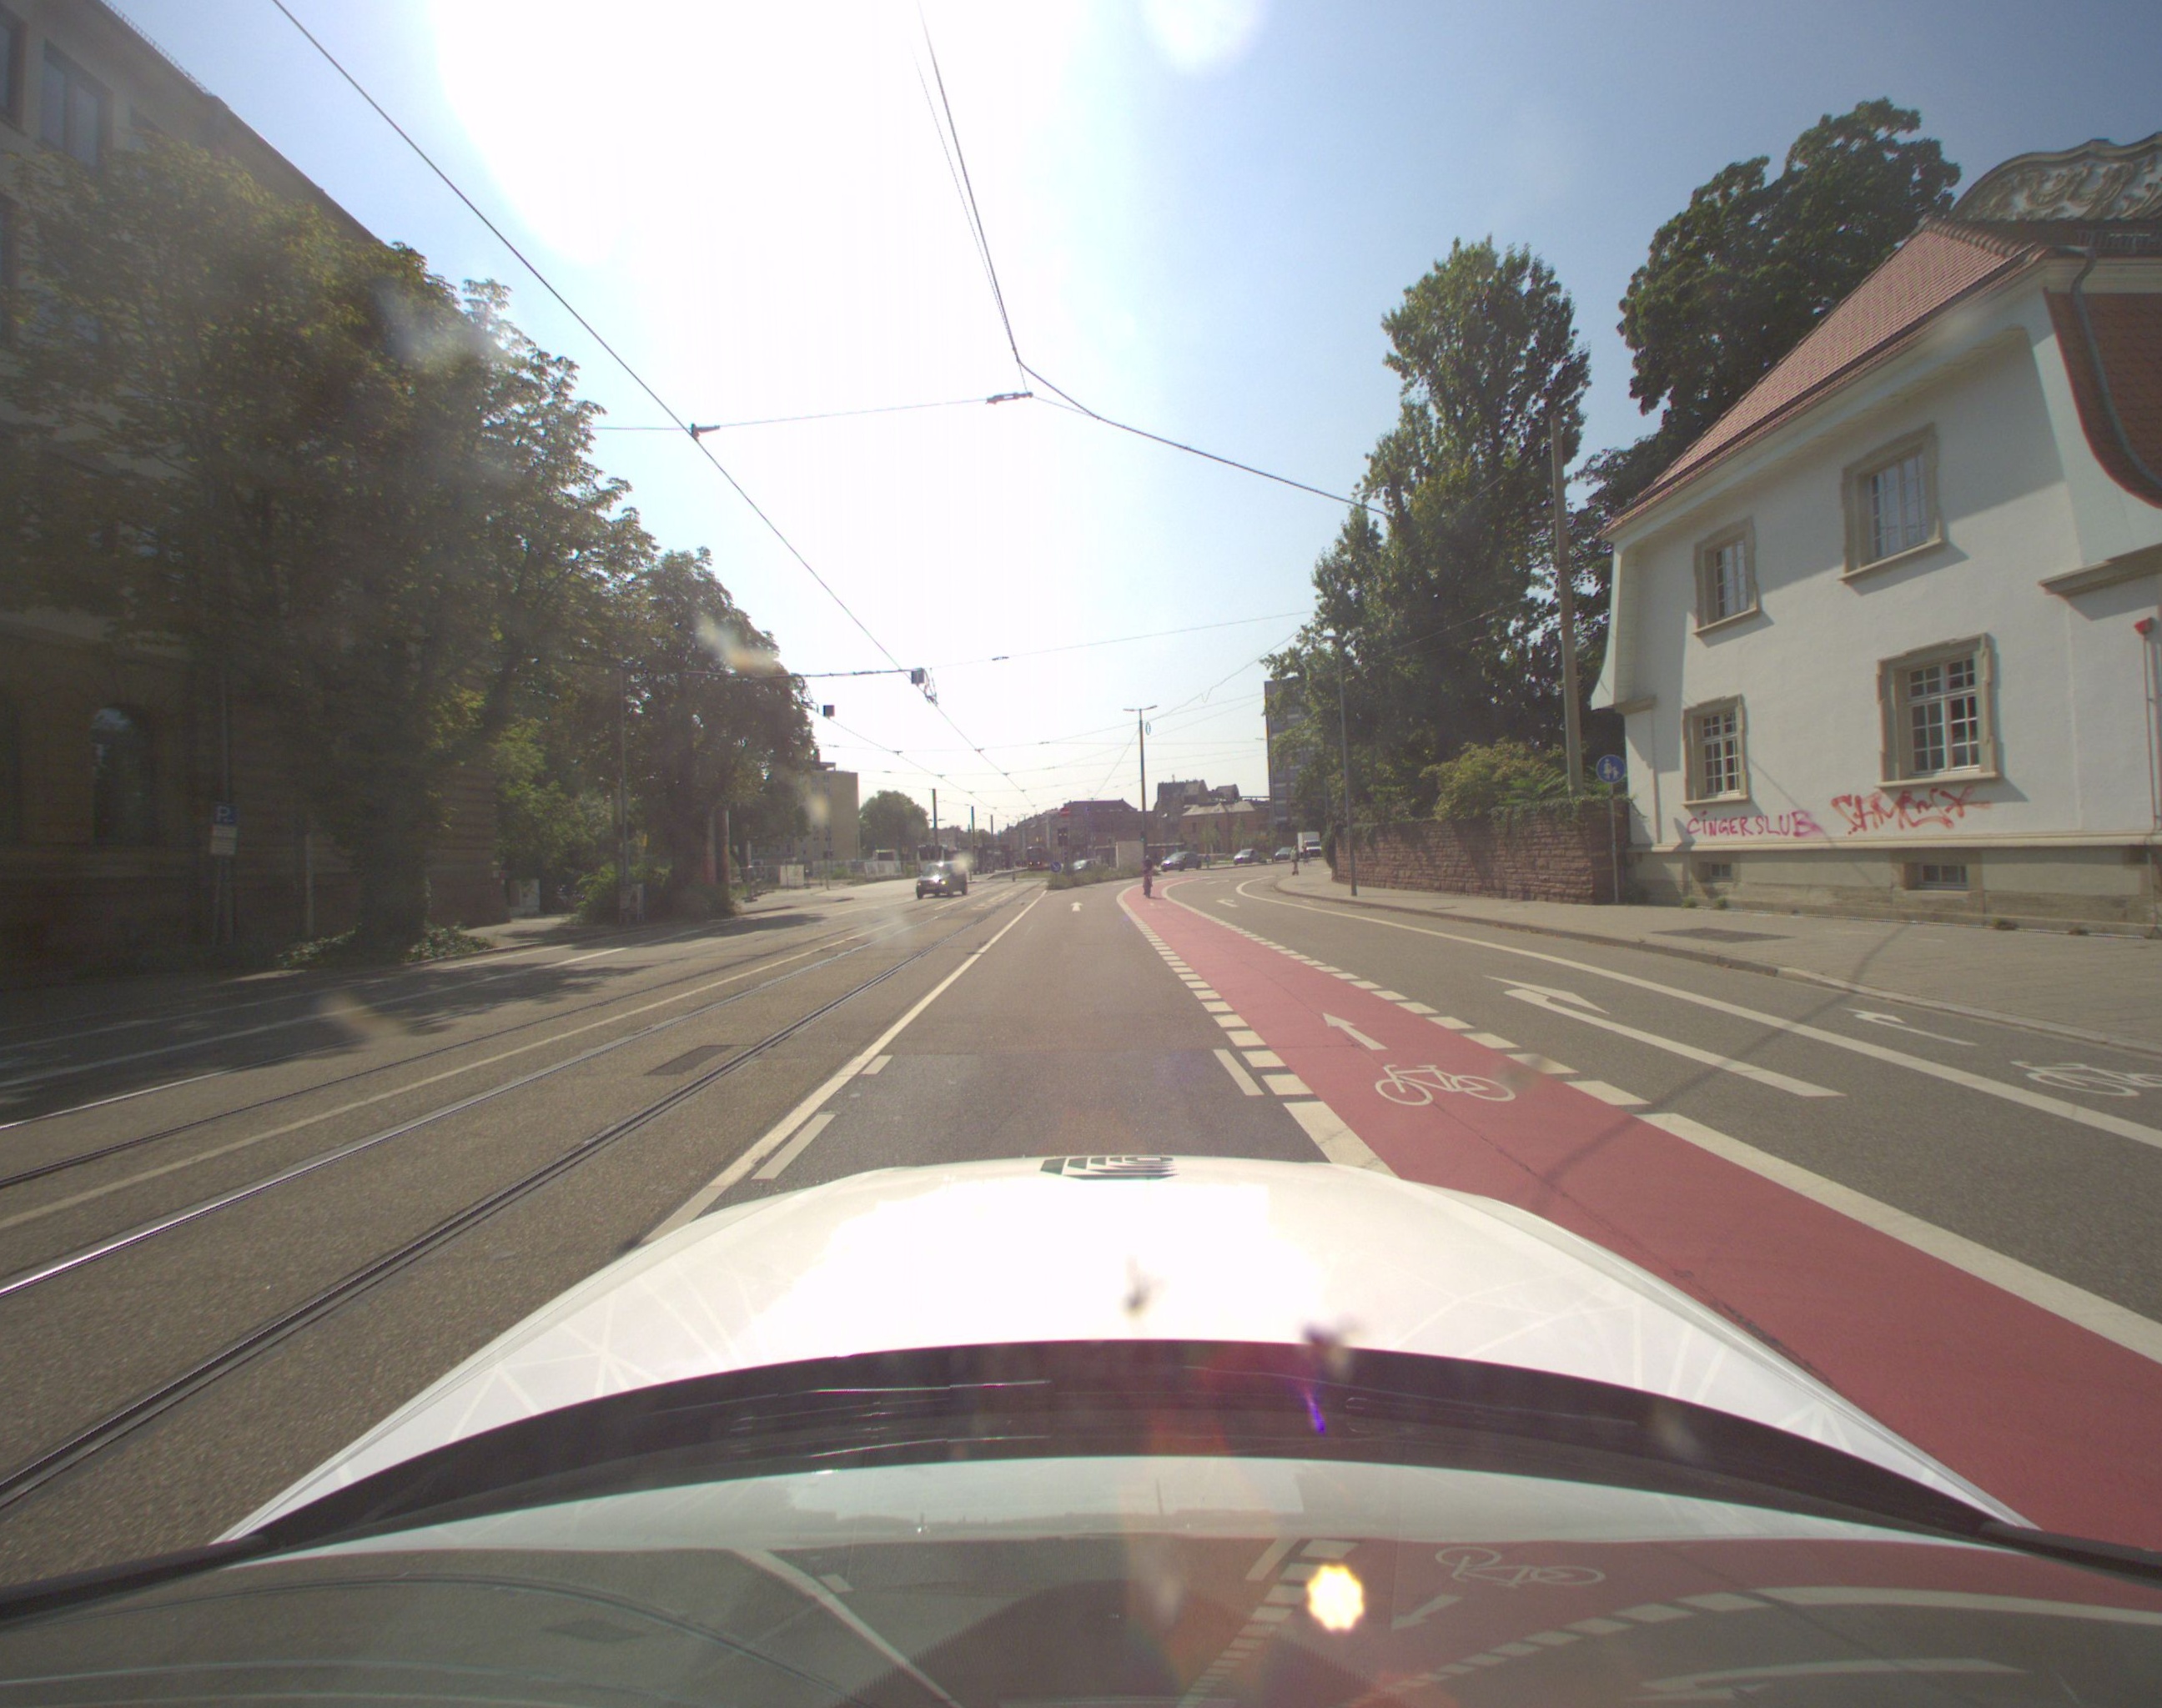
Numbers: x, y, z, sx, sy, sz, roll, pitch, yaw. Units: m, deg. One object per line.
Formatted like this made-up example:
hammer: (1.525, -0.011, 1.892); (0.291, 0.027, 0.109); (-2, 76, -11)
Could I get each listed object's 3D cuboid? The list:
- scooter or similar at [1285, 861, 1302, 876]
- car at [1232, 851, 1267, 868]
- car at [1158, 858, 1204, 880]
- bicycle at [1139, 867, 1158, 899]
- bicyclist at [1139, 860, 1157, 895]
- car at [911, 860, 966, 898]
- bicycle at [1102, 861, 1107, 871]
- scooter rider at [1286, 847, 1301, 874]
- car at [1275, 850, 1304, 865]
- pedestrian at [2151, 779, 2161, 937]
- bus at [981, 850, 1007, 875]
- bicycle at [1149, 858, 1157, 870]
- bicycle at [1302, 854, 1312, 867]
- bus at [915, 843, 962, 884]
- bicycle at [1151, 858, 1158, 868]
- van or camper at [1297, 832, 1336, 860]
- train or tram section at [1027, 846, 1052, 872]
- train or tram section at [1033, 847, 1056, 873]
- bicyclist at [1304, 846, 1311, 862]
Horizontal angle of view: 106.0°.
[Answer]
scooter or similar: (14.043, 0.925, 53.822); (0.765, 0.926, 1.629); (-2, 0, 24)
car: (16.658, 0.535, 80.374); (1.634, 1.530, 4.353); (-3, -1, 38)
car: (8.599, 1.272, 69.849); (1.754, 1.610, 4.703); (-3, 0, 37)
bicycle: (2.642, 1.105, 31.885); (0.601, 1.163, 1.811); (-2, 0, 2)
bicyclist: (2.632, 0.924, 31.976); (0.600, 1.335, 0.660); (-2, -1, 2)
car: (-6.672, 1.148, 38.484); (1.684, 1.655, 3.584); (-2, -1, 4)
bicycle: (2.561, 1.325, 87.636); (0.462, 1.032, 1.548); (-2, -1, 2)
scooter rider: (14.089, 0.434, 53.975); (0.755, 1.775, 0.558); (-3, -1, 24)
car: (22.983, 0.350, 89.742); (1.680, 1.530, 4.210); (-3, -1, 35)
pedestrian: (11.591, 0.036, 8.102); (0.868, 1.665, 0.734); (-2, 0, 26)
bus: (-13.581, 1.274, 127.804); (2.700, 3.727, 10.421); (-2, -1, 1)
bicycle: (7.726, 1.038, 87.473); (0.600, 1.210, 1.816); (-2, 0, 11)
bicycle: (20.284, 0.539, 73.095); (0.440, 1.117, 1.455); (-3, -1, 34)
bus: (-14.275, 0.936, 82.612); (2.949, 3.775, 10.592); (-2, -1, -1)
bicycle: (8.595, 1.038, 95.206); (0.600, 1.210, 1.816); (-2, 0, 11)
van or camper: (29.130, -1.010, 100.735); (2.376, 3.306, 7.236); (-3, -1, 34)
train or tram section: (-6.133, 0.829, 123.330); (2.847, 3.548, 17.736); (-2, -1, 0)
train or tram section: (-6.205, 1.066, 141.719); (2.877, 4.068, 19.139); (-2, -1, 0)
bicyclist: (20.365, 0.035, 73.263); (0.445, 1.421, 0.499); (-3, -1, 33)
